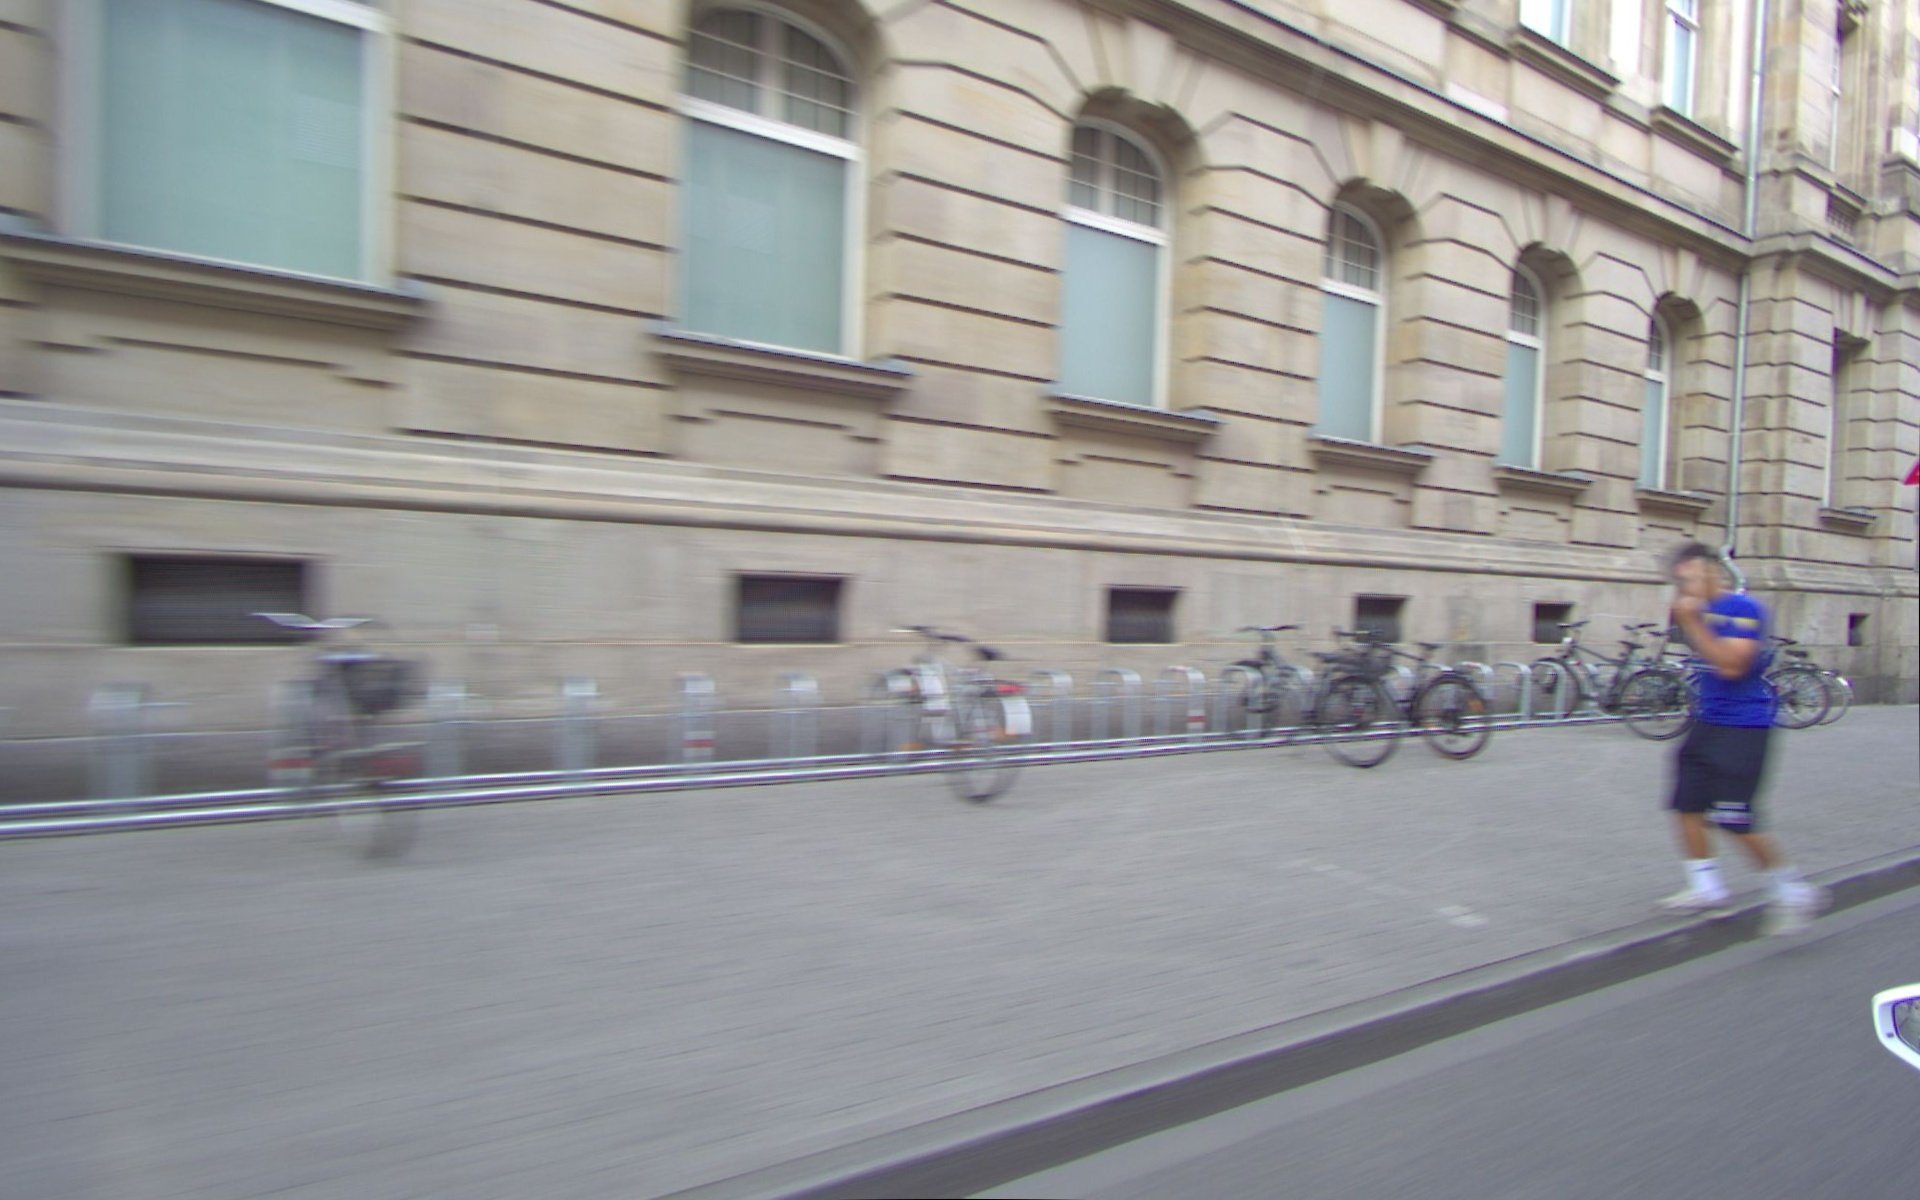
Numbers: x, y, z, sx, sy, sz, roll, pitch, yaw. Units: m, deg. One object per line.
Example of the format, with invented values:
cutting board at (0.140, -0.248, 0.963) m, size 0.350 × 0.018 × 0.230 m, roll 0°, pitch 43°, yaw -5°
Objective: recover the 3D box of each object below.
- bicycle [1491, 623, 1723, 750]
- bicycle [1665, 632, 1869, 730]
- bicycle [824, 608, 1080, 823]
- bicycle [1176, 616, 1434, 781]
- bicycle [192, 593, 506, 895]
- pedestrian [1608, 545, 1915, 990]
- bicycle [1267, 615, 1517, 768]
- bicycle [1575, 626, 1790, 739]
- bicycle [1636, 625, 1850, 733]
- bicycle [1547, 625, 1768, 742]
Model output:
bicycle at (6.926, 0.879, 10.858) m, size 0.723 × 1.093 × 1.923 m, roll 2°, pitch 3°, yaw -37°
bicycle at (10.489, 1.014, 13.132) m, size 0.714 × 1.060 × 1.923 m, roll 1°, pitch 2°, yaw -34°
bicycle at (-0.133, 0.668, 6.671) m, size 0.723 × 1.093 × 1.925 m, roll 2°, pitch 2°, yaw -34°
bicycle at (2.828, 0.756, 8.446) m, size 0.723 × 1.093 × 1.923 m, roll 2°, pitch 3°, yaw -37°
bicycle at (-3.066, 0.576, 4.936) m, size 1.995 × 1.093 × 0.726 m, roll 5°, pitch 3°, yaw 41°
pedestrian at (3.567, 0.682, 4.560) m, size 0.804 × 1.812 × 0.779 m, roll 1°, pitch 0°, yaw 12°
bicycle at (3.827, 0.758, 9.068) m, size 0.723 × 1.093 × 1.923 m, roll 2°, pitch 3°, yaw -37°
bicycle at (8.614, 0.938, 12.061) m, size 0.723 × 1.093 × 1.923 m, roll 2°, pitch 3°, yaw -37°
bicycle at (9.750, 0.942, 12.595) m, size 0.739 × 1.093 × 1.927 m, roll 2°, pitch 2°, yaw -31°
bicycle at (7.996, 0.914, 11.605) m, size 0.723 × 1.093 × 1.923 m, roll 2°, pitch 3°, yaw -37°
